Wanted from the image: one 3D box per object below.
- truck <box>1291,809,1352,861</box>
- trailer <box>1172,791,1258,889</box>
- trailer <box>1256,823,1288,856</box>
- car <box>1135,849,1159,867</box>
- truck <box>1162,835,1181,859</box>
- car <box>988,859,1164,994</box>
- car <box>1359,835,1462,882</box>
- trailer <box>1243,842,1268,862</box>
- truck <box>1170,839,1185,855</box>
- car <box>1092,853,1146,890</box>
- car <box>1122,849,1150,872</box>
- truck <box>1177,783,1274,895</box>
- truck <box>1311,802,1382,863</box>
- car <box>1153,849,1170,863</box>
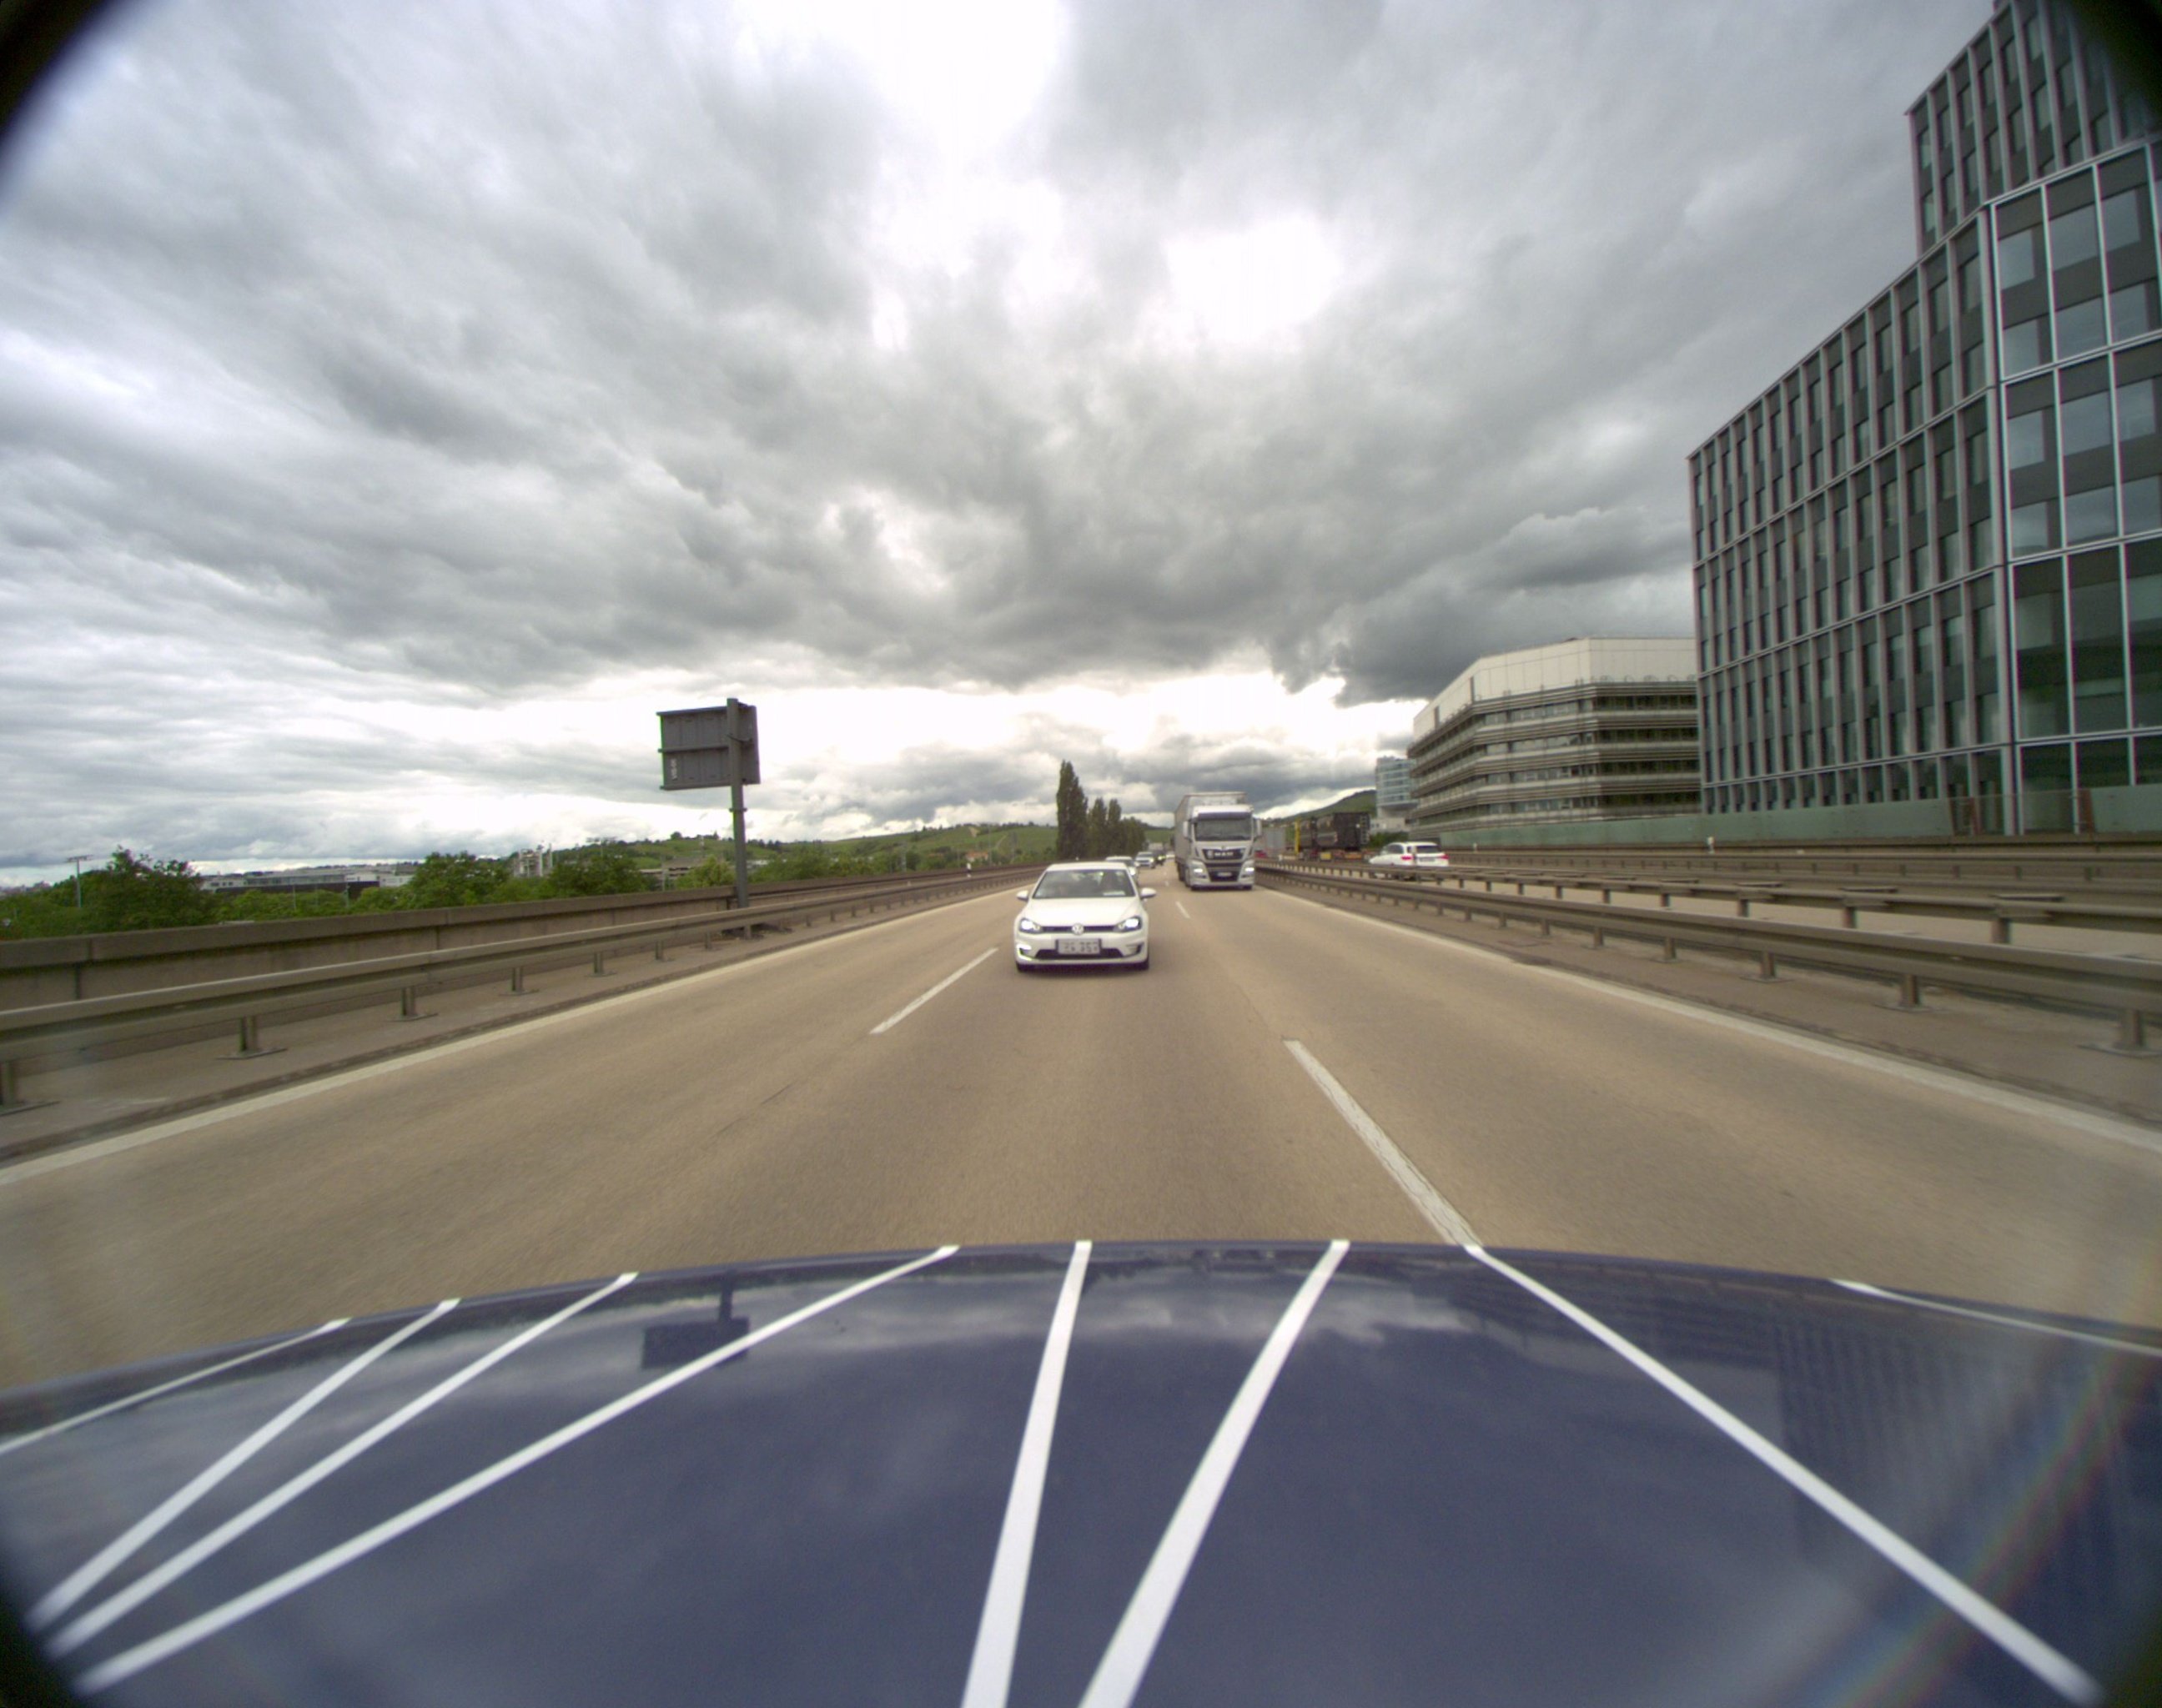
[{"bbox_3d":[20.735,-1.603,66.370,3.063,4.042,11.862,-1,1,8],"label":"truck"},{"bbox_3d":[6.424,-0.681,38.258,3.188,4.003,11.769,-3,1,6],"label":"trailer"},{"bbox_3d":[24.926,-1.963,99.476,2.850,3.965,11.889,-1,2,8],"label":"trailer"},{"bbox_3d":[6.516,0.398,75.028,1.929,1.585,4.064,-3,1,10],"label":"car"},{"bbox_3d":[12.901,-0.971,107.775,2.335,3.219,6.690,-1,1,10],"label":"truck"},{"bbox_3d":[0.139,0.905,11.212,1.929,1.499,4.063,-1,1,9],"label":"car"},{"bbox_3d":[12.487,0.124,29.162,1.998,1.597,4.807,-2,1,2],"label":"car"},{"bbox_3d":[18.477,-0.213,80.448,1.998,2.002,4.001,-2,1,5],"label":"trailer"},{"bbox_3d":[19.558,-1.414,153.714,2.335,3.219,6.690,-1,1,11],"label":"truck"},{"bbox_3d":[1.858,0.771,35.411,1.929,1.499,4.064,-3,1,10],"label":"car"},{"bbox_3d":[4.388,0.477,60.090,1.929,1.585,4.063,-3,1,7],"label":"car"},{"bbox_3d":[5.774,-0.595,31.329,3.141,4.014,5.689,-3,1,5],"label":"truck"},{"bbox_3d":[19.373,-1.515,55.992,3.063,4.042,8.666,-1,1,7],"label":"truck"},{"bbox_3d":[9.573,0.215,90.122,1.930,1.585,4.062,-3,1,7],"label":"car"}]
